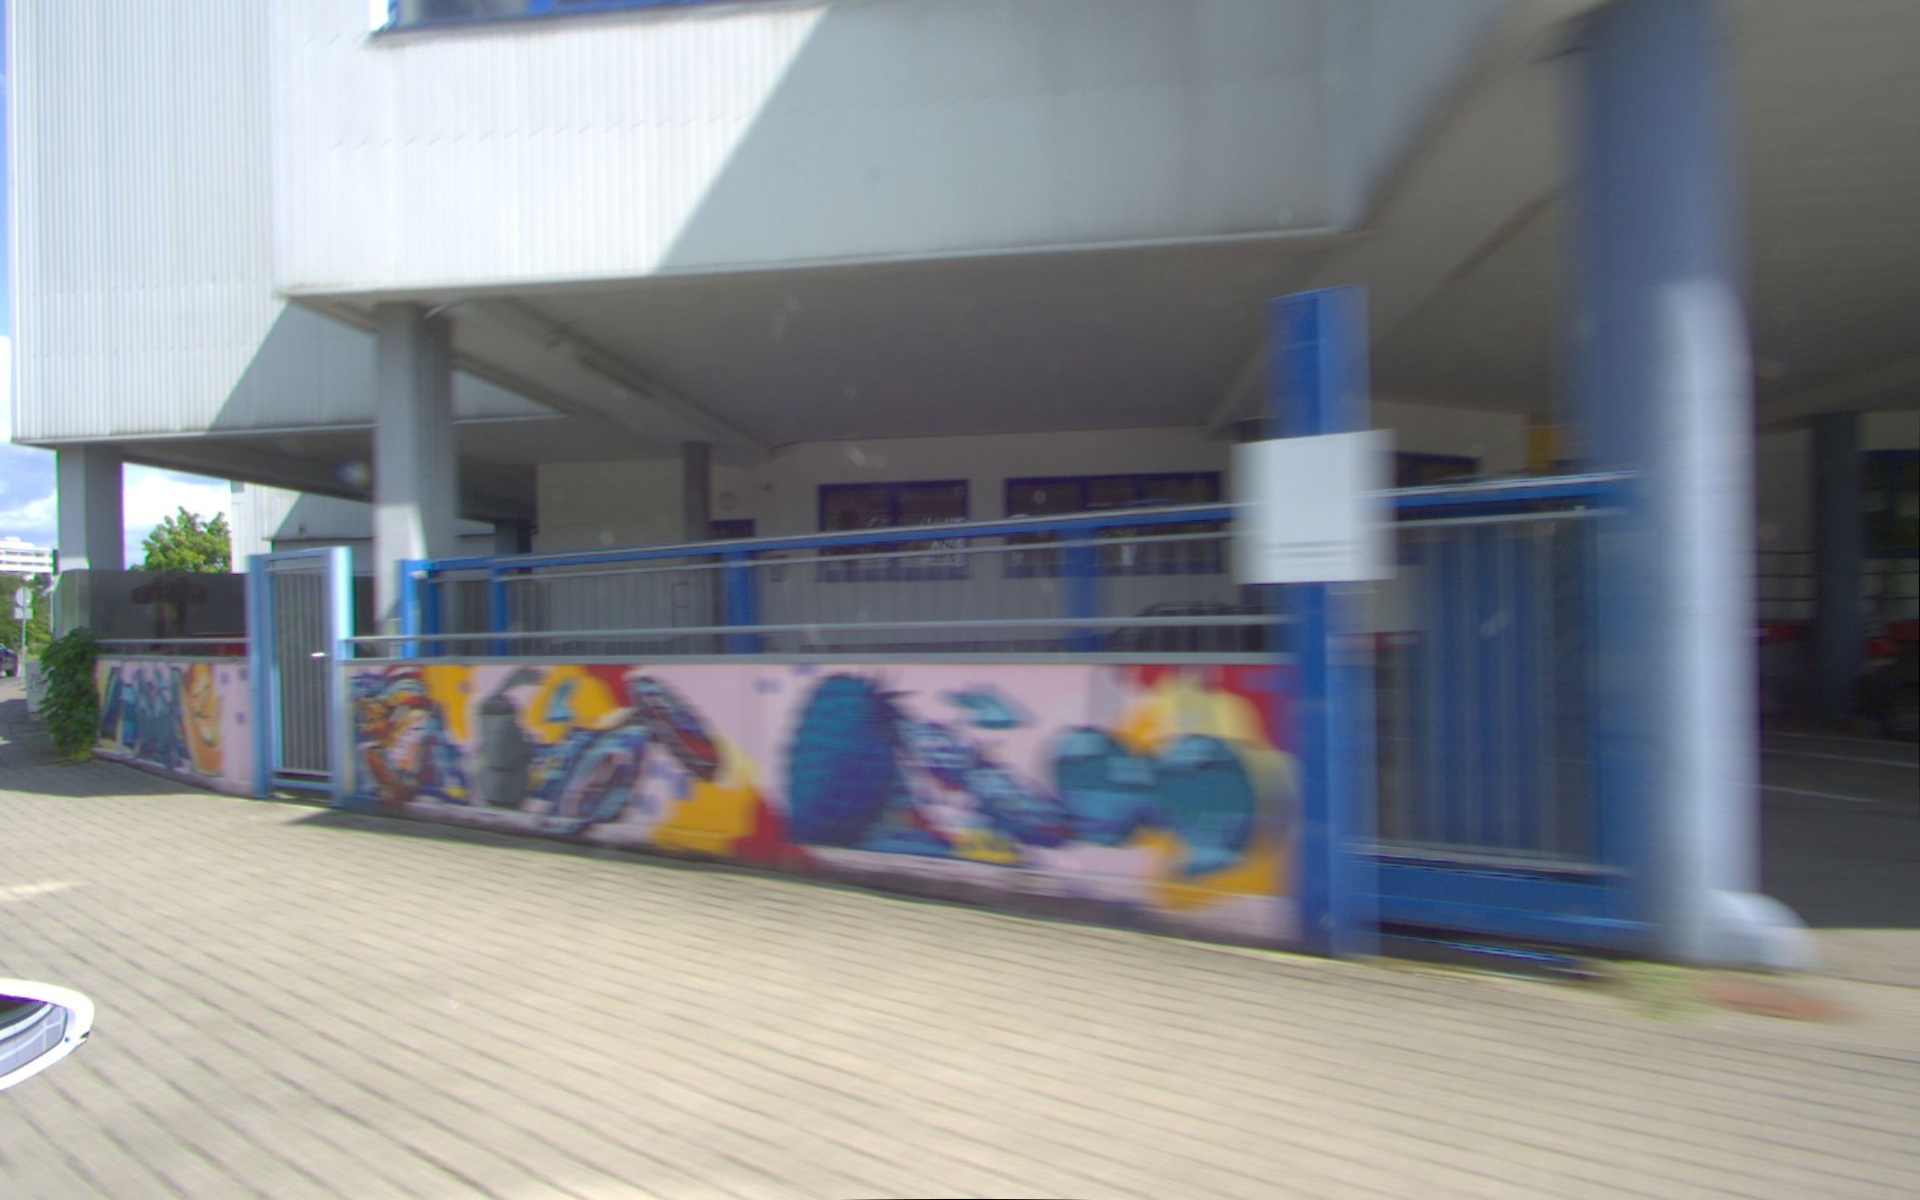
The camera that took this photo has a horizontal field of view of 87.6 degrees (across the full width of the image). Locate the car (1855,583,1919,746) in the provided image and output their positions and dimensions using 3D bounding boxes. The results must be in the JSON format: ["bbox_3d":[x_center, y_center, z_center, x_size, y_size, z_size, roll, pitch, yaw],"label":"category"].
[{"bbox_3d":[12.033,0.675,10.132,1.732,1.803,4.090,1,-2,-26],"label":"car"}]

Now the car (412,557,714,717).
[{"bbox_3d":[-5.748,0.631,14.848,1.975,2.037,3.703,-4,-5,36],"label":"car"}]

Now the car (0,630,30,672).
[{"bbox_3d":[-39.077,2.072,40.018,1.889,1.613,4.677,0,-3,-32],"label":"car"}]

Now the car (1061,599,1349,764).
[{"bbox_3d":[2.796,0.855,12.269,1.643,1.680,3.652,1,0,-20],"label":"car"}]
